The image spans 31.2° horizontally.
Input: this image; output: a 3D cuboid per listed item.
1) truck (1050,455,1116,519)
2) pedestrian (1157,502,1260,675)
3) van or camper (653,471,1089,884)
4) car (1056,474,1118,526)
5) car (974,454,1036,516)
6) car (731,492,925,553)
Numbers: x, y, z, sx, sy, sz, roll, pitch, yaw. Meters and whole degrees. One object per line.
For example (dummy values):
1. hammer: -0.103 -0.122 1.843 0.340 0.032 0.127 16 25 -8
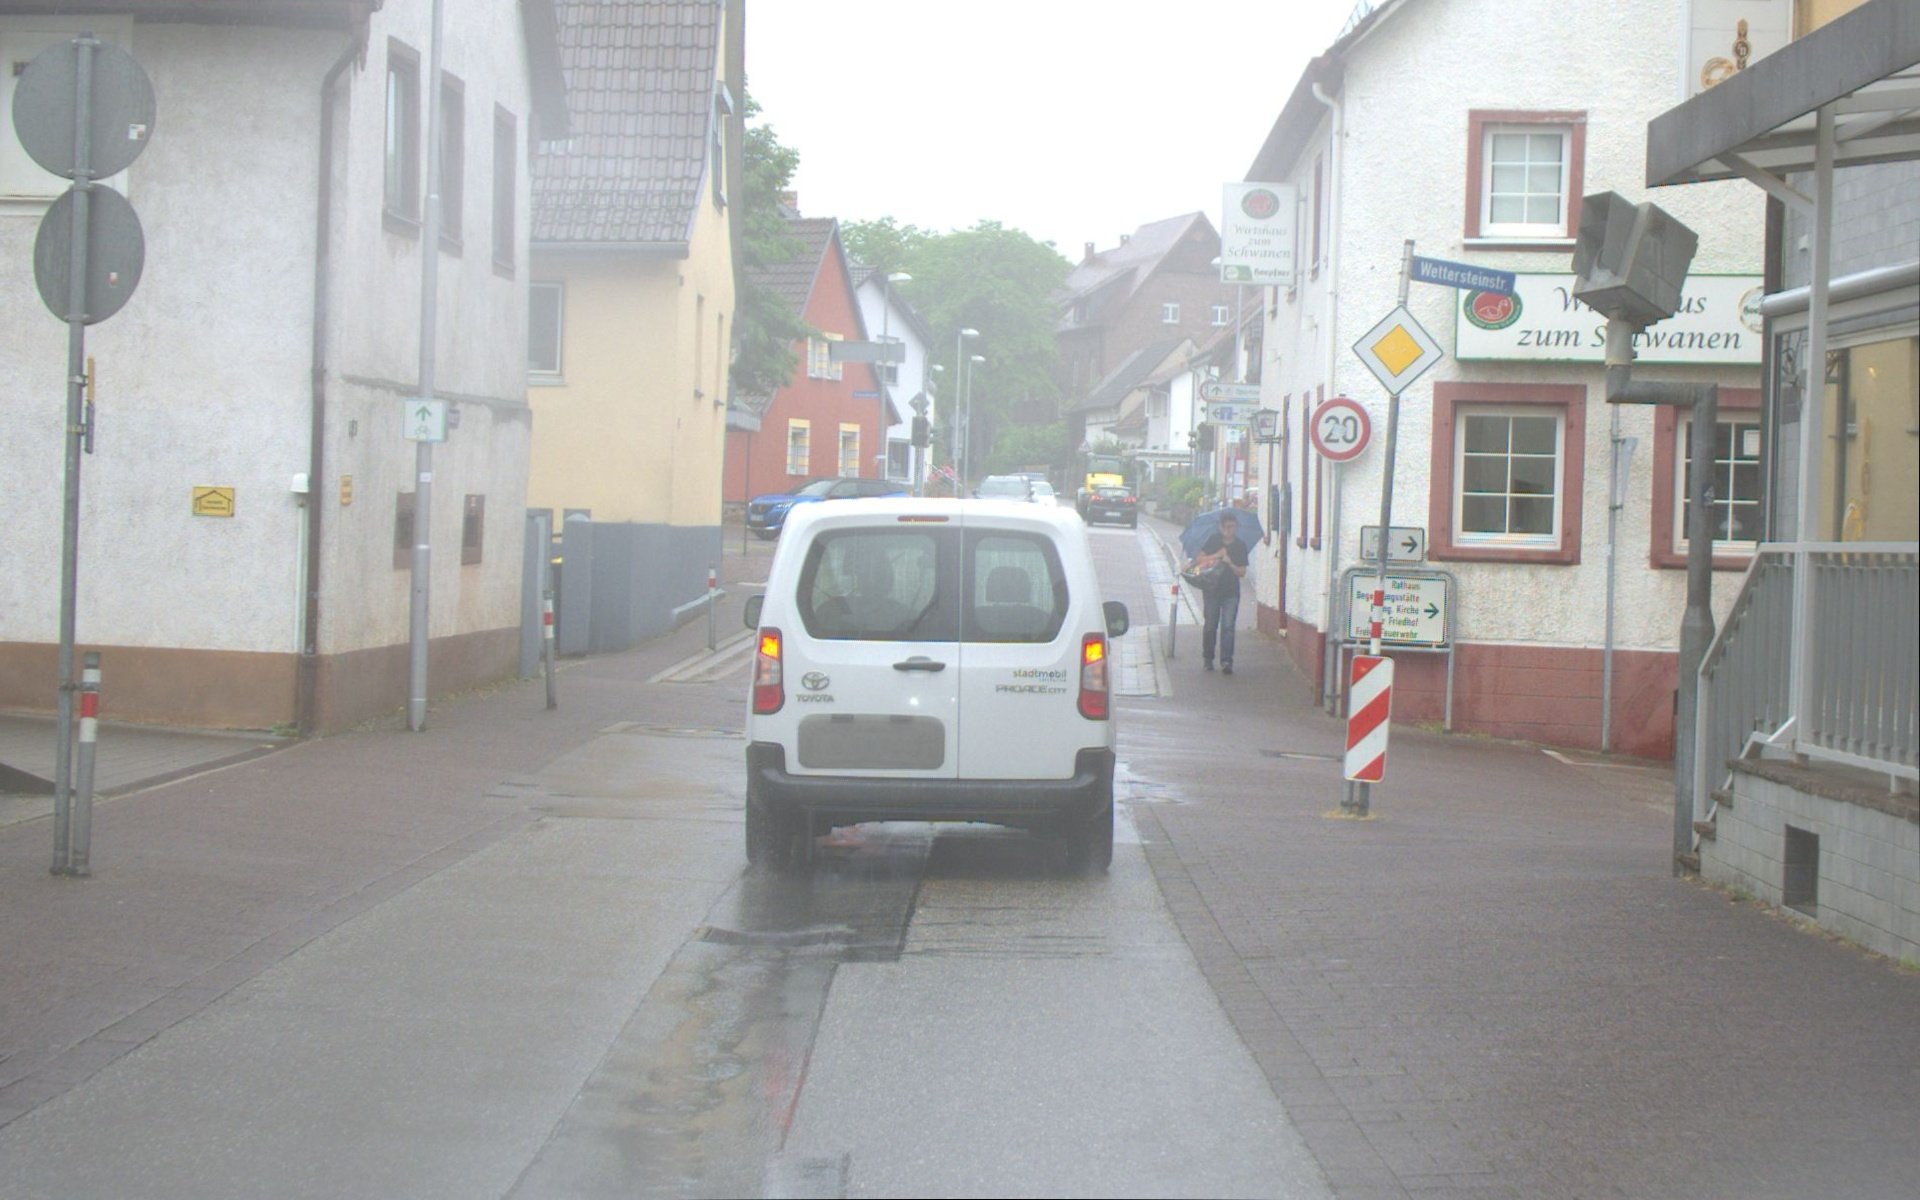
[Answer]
1. truck: 4.724 -4.346 132.720 2.350 2.417 4.950 1 2 0
2. pedestrian: 2.595 -0.130 35.822 0.994 1.730 0.811 2 4 6
3. van or camper: -0.337 0.329 17.837 1.943 1.845 4.000 2 1 2
4. car: 4.397 -3.479 119.548 1.993 1.741 4.000 1 2 0
5. car: 1.357 -3.459 102.762 1.812 1.773 4.018 1 3 1
6. car: -3.053 -1.789 79.933 3.987 1.368 2.111 0 1 -34
